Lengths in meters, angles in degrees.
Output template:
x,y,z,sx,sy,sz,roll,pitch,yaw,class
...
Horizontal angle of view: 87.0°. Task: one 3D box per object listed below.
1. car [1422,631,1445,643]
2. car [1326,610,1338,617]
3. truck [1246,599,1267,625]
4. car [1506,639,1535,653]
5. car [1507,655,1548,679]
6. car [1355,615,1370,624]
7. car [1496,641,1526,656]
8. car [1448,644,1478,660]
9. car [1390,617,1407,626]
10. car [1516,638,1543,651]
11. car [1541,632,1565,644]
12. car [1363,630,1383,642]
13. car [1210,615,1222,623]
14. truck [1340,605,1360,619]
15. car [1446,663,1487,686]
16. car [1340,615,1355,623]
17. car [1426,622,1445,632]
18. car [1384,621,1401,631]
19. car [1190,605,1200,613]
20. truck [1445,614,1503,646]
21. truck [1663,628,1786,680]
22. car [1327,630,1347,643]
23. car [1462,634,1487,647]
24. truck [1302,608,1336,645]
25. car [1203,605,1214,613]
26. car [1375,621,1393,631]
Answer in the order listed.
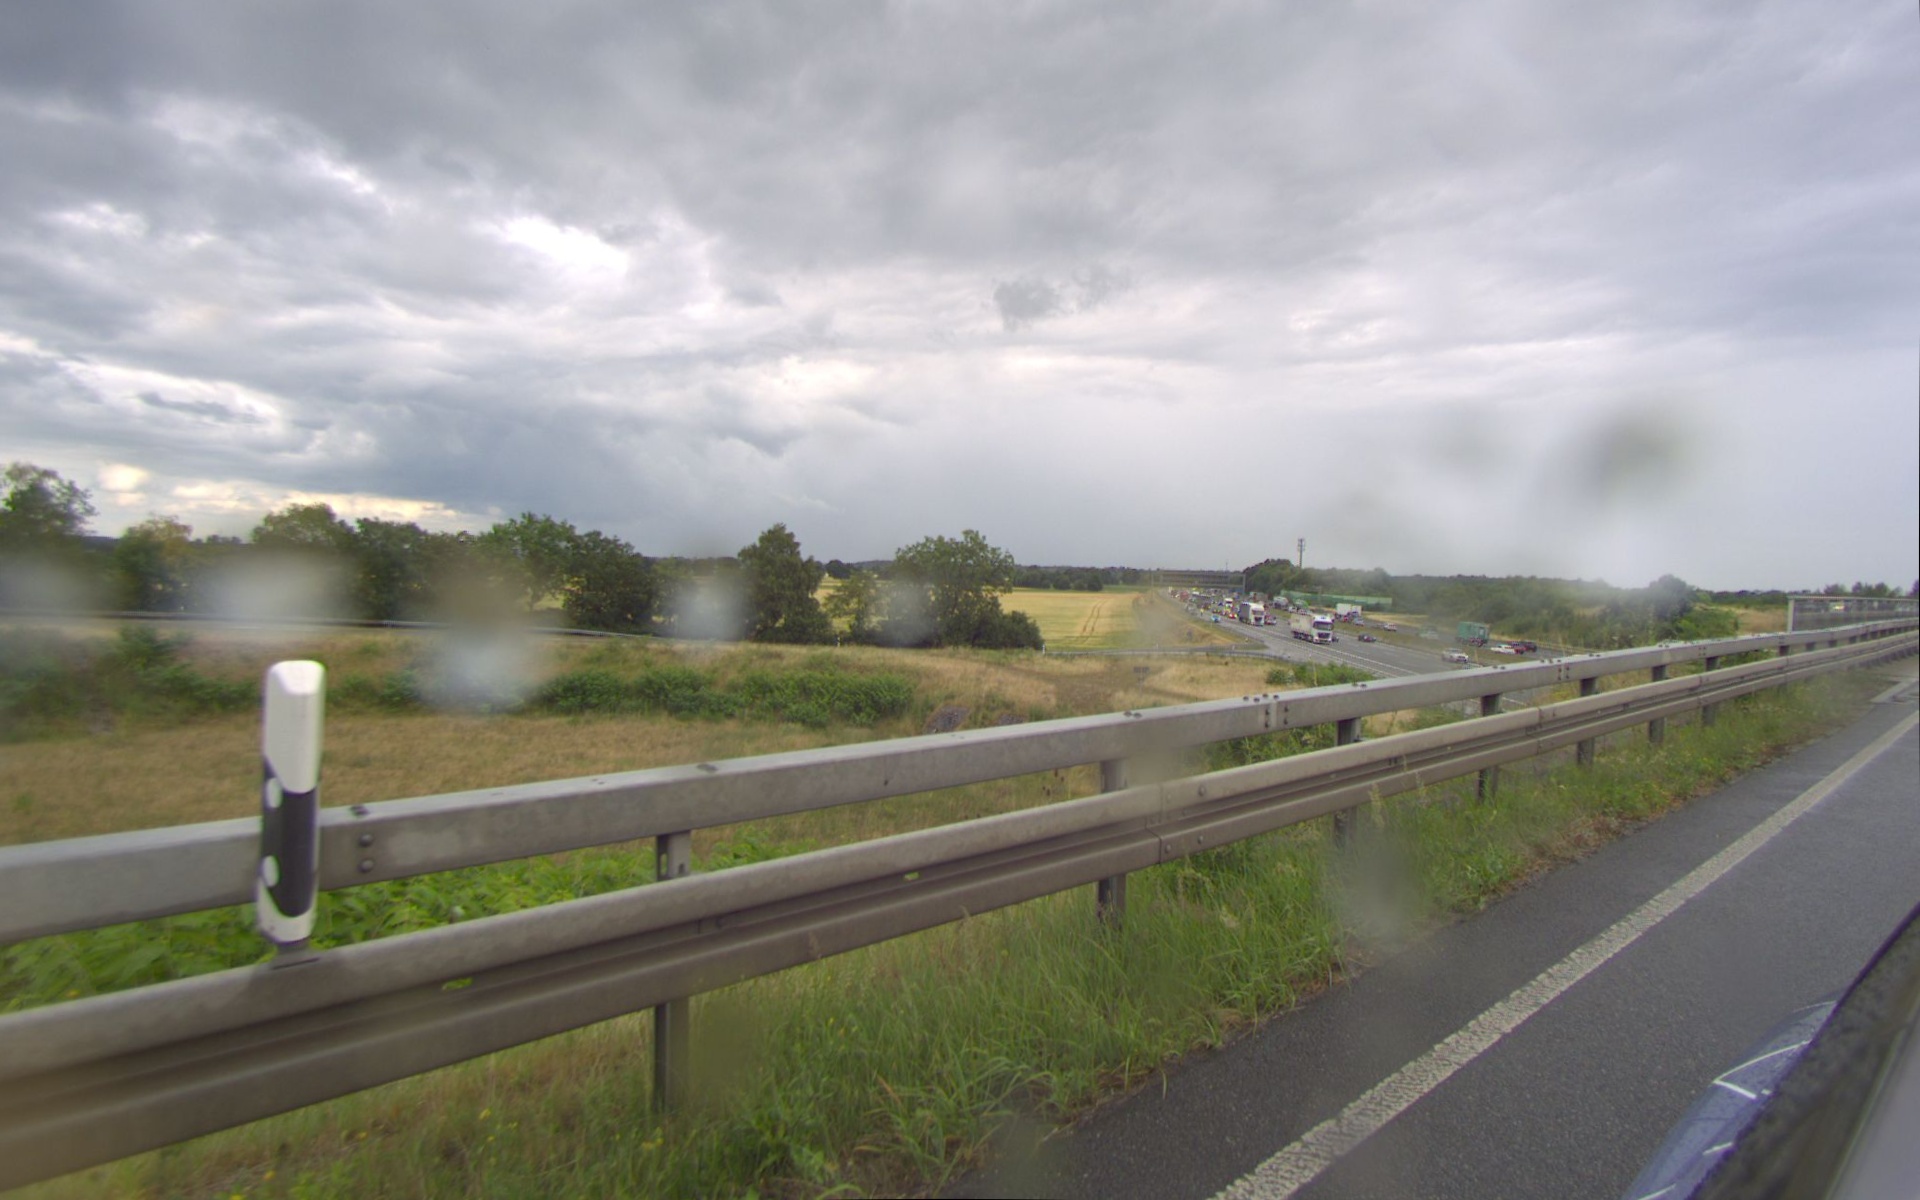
x,y,z,sx,sy,sz,roll,pitch,yaw,class
75.431,5.837,161.385,1.824,1.690,4.717,1,1,6,car
89.496,3.285,243.498,1.825,1.690,4.714,1,1,8,car
58.658,2.280,200.629,2.750,4.675,12.716,1,1,11,truck
78.915,6.474,142.559,1.824,1.690,4.717,1,1,6,car
53.437,6.323,95.378,1.967,2.041,3.986,-5,-5,9,car
86.650,4.168,217.787,1.825,1.690,4.714,1,1,8,car
72.162,6.325,132.607,1.824,1.690,4.717,1,1,6,car
60.643,6.256,122.111,1.966,1.643,3.991,-4,-1,7,car
90.344,4.504,208.507,1.825,1.690,4.714,1,1,8,car
86.004,6.659,152.824,1.824,1.690,4.717,1,1,6,car
99.165,6.374,169.291,1.825,1.690,4.714,1,1,8,car
65.622,5.691,160.868,1.825,1.690,4.714,1,1,8,car
50.788,3.840,200.744,1.783,1.454,4.716,1,1,6,car
90.955,2.714,236.215,2.175,3.003,9.289,1,1,7,truck
45.533,6.676,91.149,1.825,1.690,4.714,1,1,8,car
81.721,4.007,213.558,1.825,1.690,4.714,1,1,8,car
90.824,5.102,193.369,1.825,1.690,4.714,1,1,8,car
83.462,4.988,195.205,1.825,1.690,4.714,1,1,8,car
55.474,2.044,238.578,1.825,1.690,4.714,1,1,8,car
84.335,4.804,166.448,3.544,4.594,15.594,1,1,8,truck
81.928,5.616,109.034,3.541,4.594,14.084,1,1,5,truck
57.793,5.542,155.107,1.825,1.690,4.714,1,1,8,car
78.081,6.158,153.703,1.824,1.690,4.717,1,1,6,car
52.830,3.841,149.076,2.750,4.961,12.716,1,1,11,truck
57.910,2.093,236.034,1.825,1.689,4.714,1,1,8,car
78.561,4.802,187.457,1.825,1.690,4.714,1,1,8,car
